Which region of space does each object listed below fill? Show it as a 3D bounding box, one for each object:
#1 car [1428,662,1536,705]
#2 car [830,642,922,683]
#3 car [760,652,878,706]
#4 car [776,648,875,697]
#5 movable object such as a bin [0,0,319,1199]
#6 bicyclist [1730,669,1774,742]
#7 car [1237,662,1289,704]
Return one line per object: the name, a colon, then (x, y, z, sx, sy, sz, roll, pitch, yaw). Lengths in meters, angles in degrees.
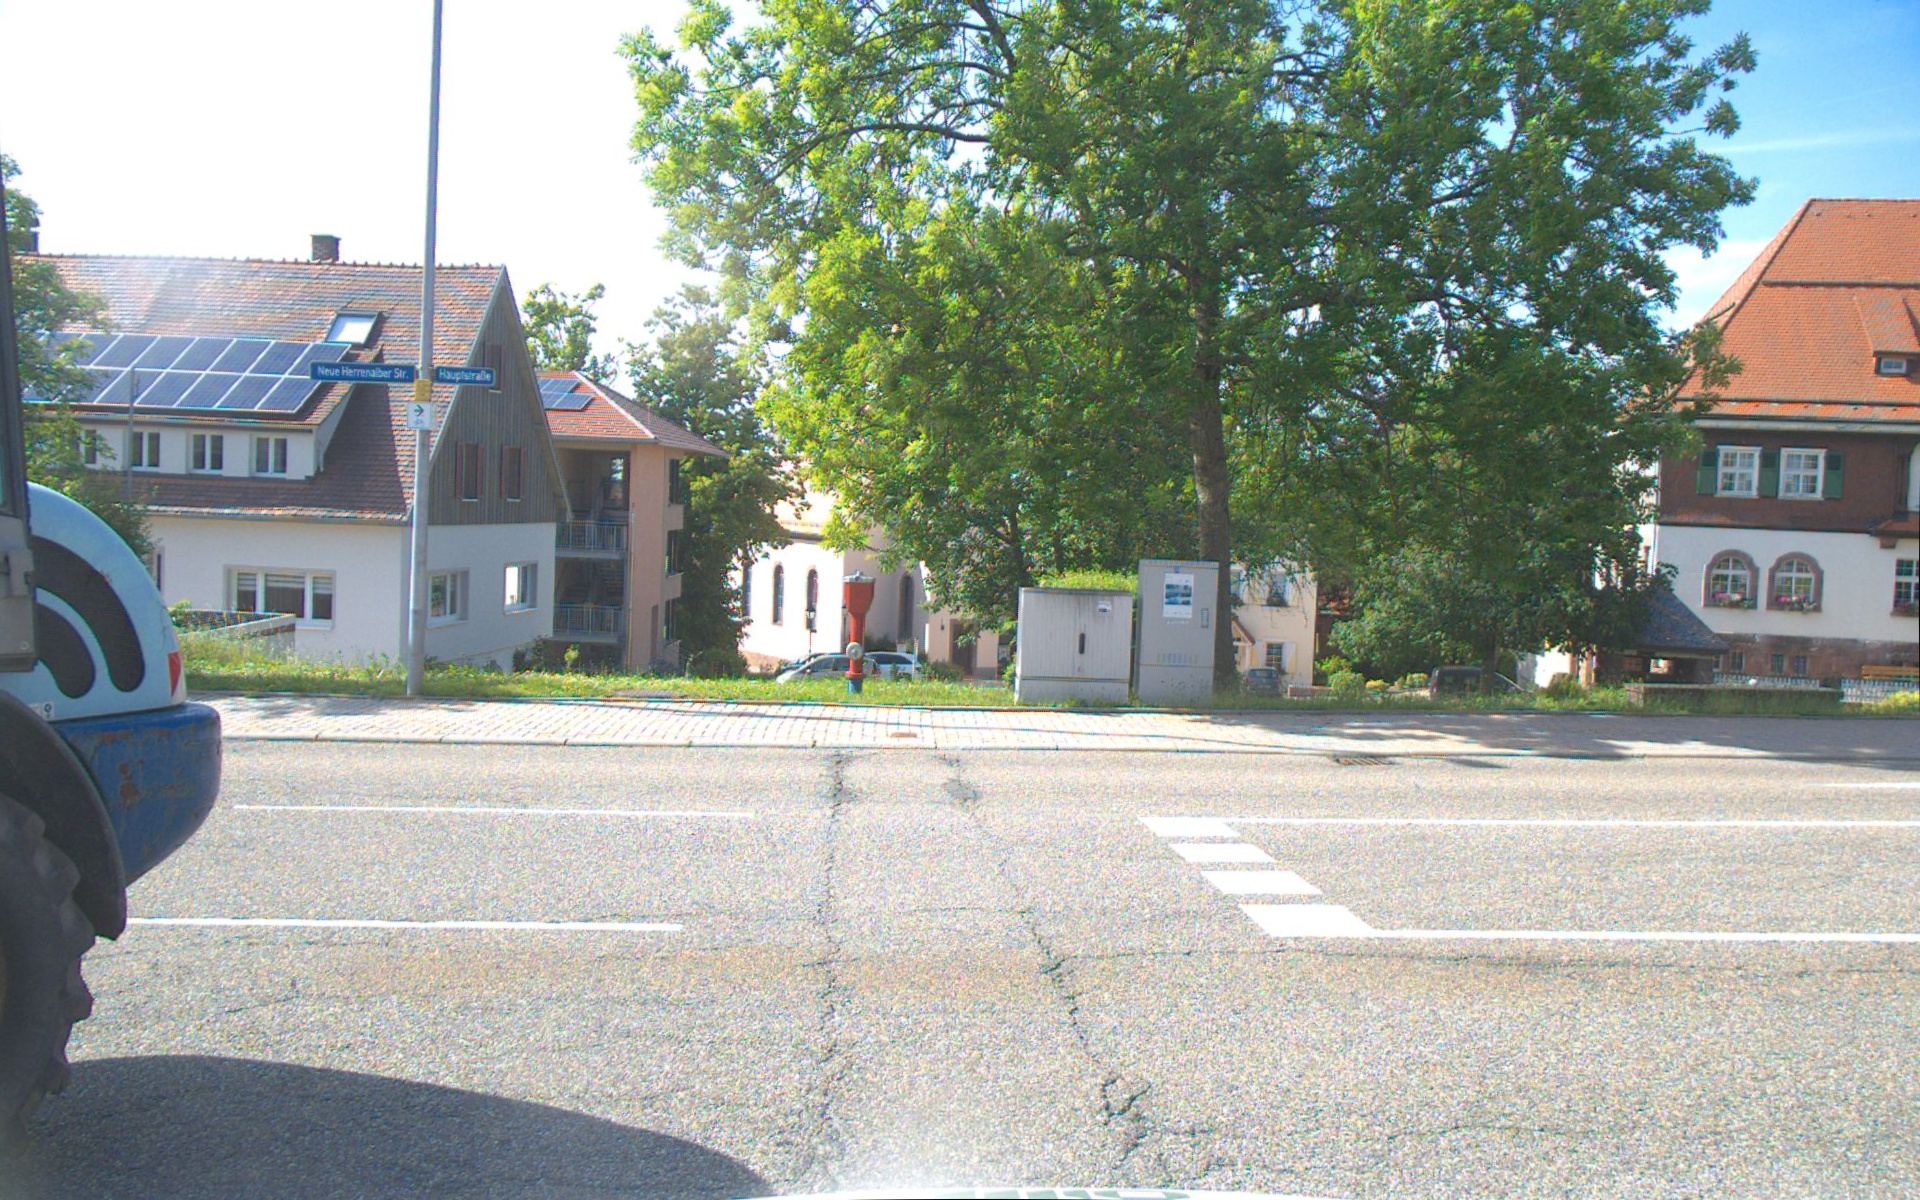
car: (19.470, 3.107, 61.820, 3.692, 1.470, 1.715, 1, -1, 11)
car: (-3.488, 2.579, 68.398, 3.700, 1.621, 1.711, 1, -1, -7)
car: (-4.901, 2.737, 57.528, 4.011, 1.789, 1.711, 1, -1, -6)
car: (-5.171, 2.781, 63.348, 3.700, 1.789, 1.711, 1, -1, -7)
movable object such as a bin: (-3.393, -0.033, 2.478, 1.951, 2.817, 5.109, 1, 1, 13)
bicyclist: (21.985, 2.918, 45.921, 0.973, 1.959, 0.582, 1, -1, 14)
car: (12.442, 3.390, 68.051, 1.672, 1.569, 3.787, 1, 0, 3)
